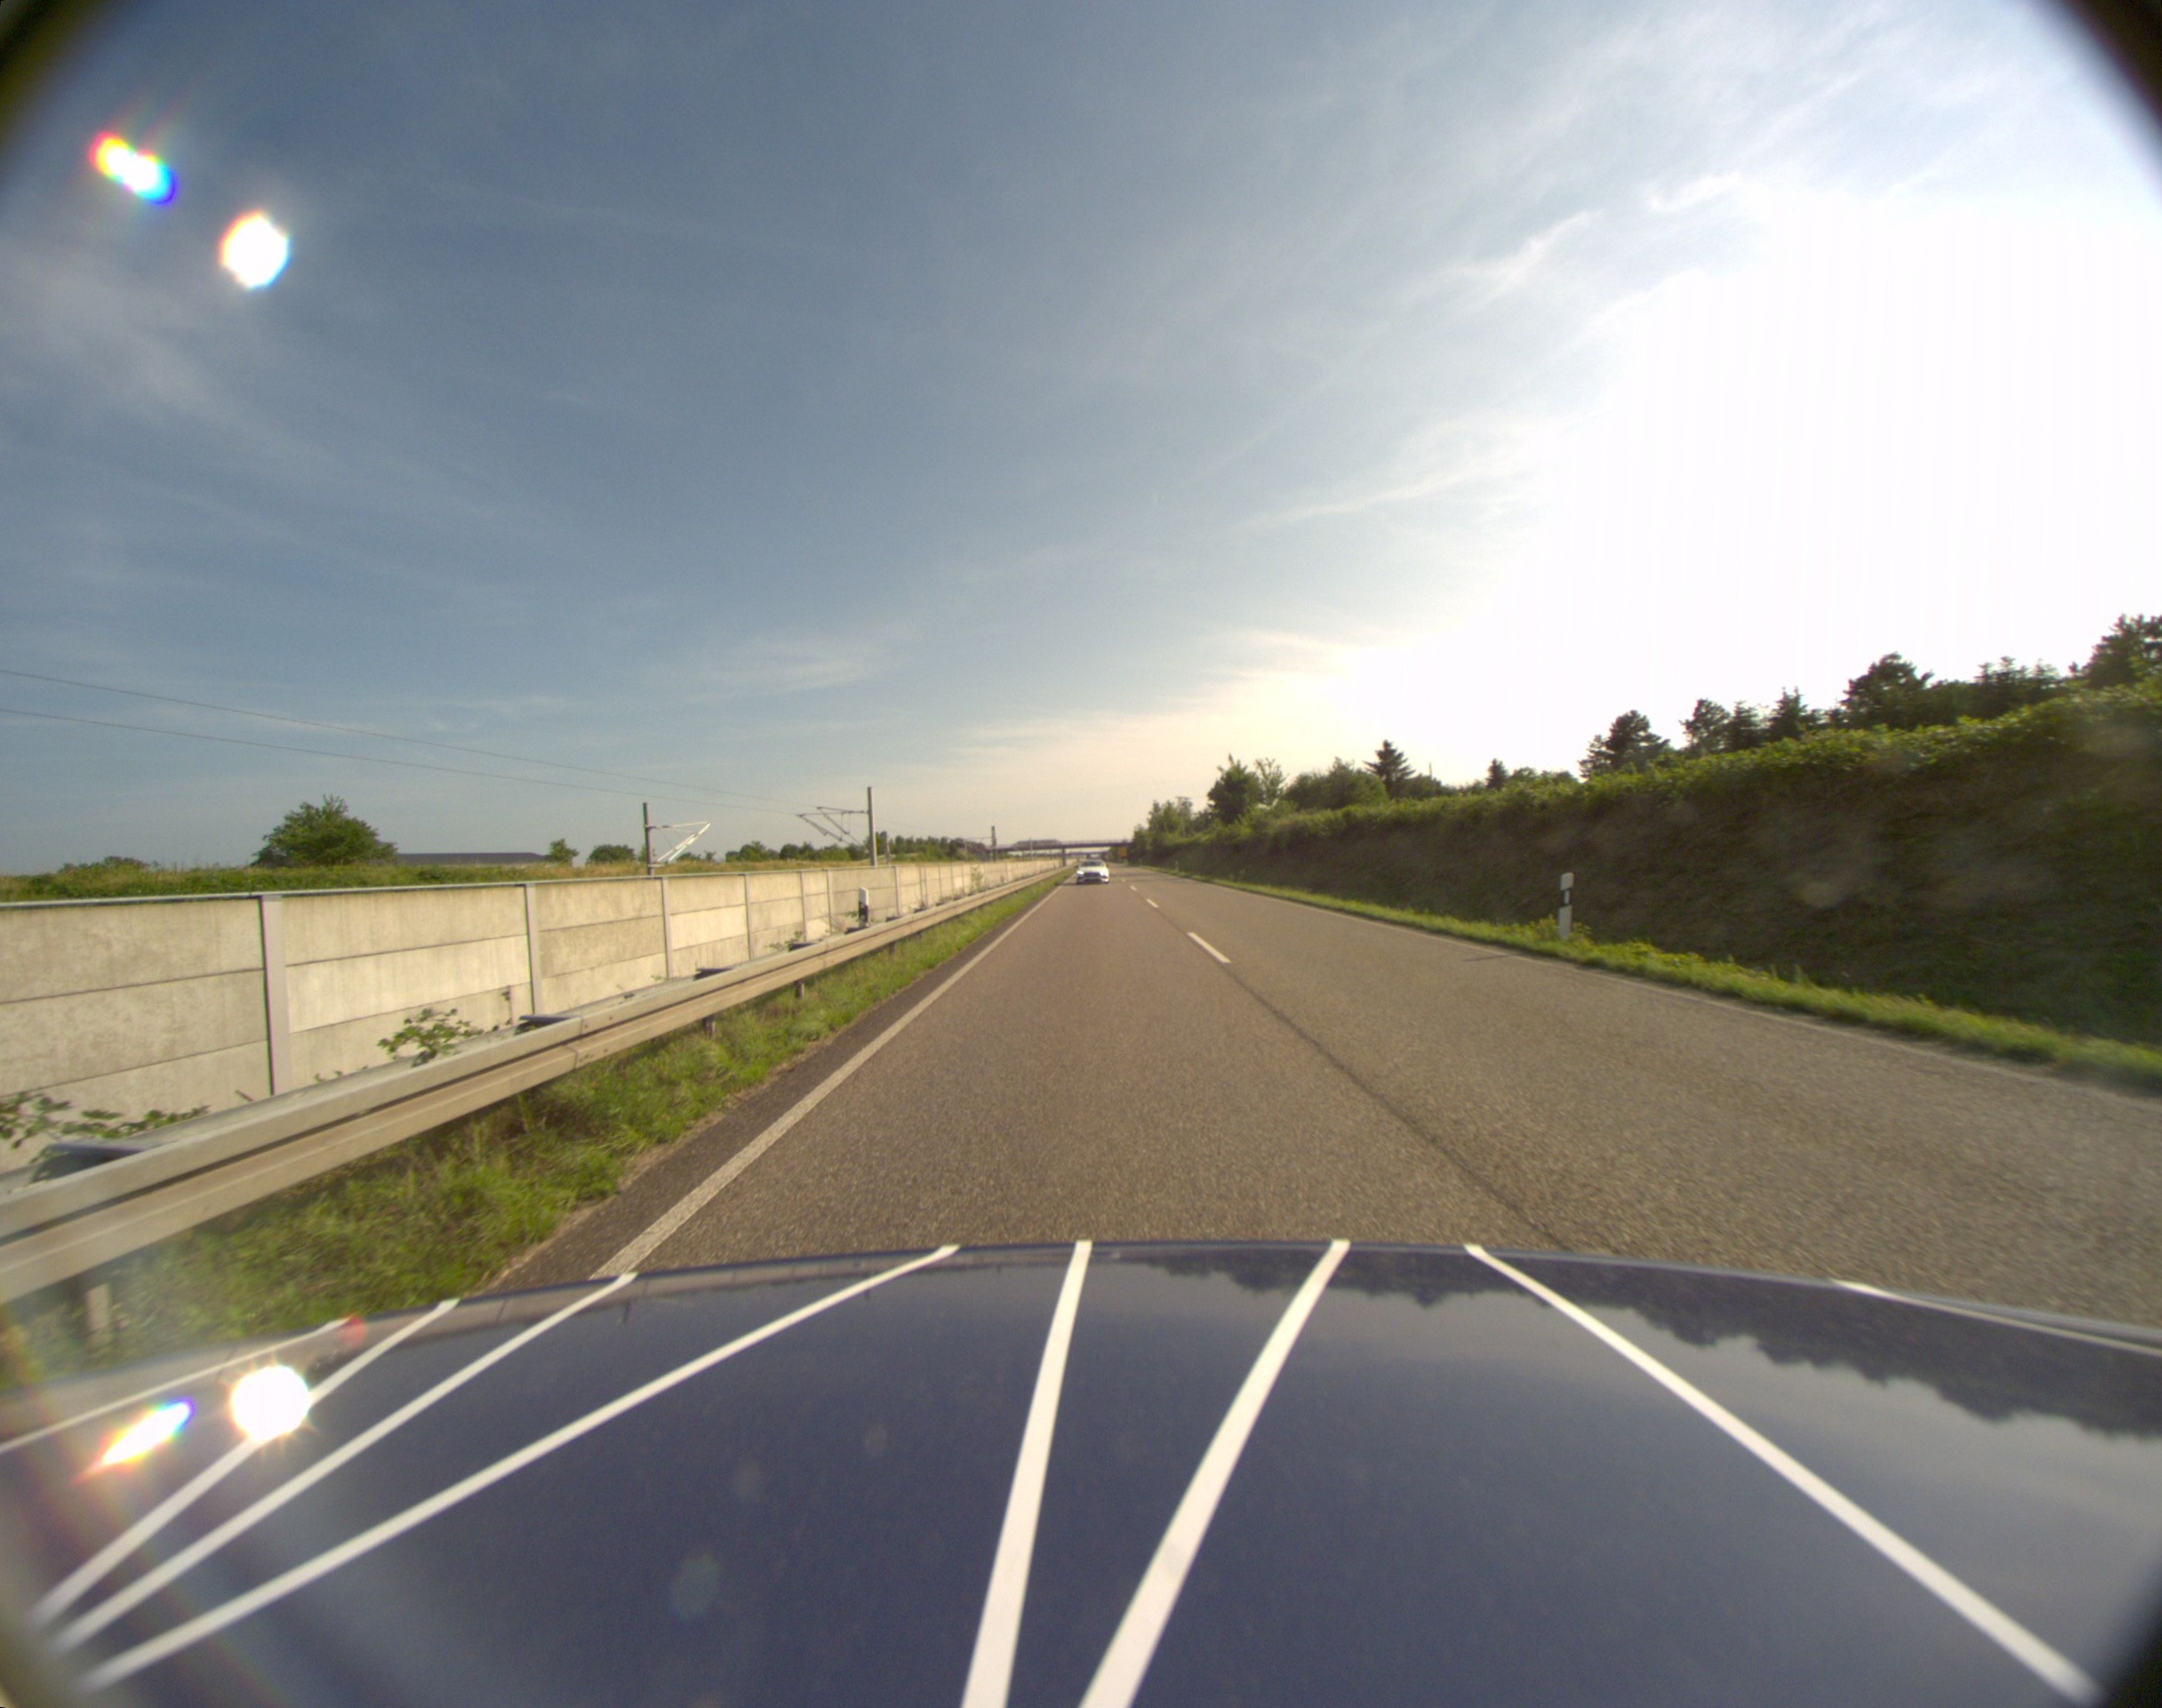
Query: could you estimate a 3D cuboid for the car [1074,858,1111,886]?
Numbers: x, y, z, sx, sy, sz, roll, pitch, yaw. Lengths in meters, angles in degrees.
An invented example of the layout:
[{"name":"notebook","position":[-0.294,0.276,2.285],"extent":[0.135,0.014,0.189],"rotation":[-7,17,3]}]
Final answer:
[{"name":"car","position":[0.702,0.987,43.490],"extent":[1.952,1.430,4.612],"rotation":[-2,0,1]}]
